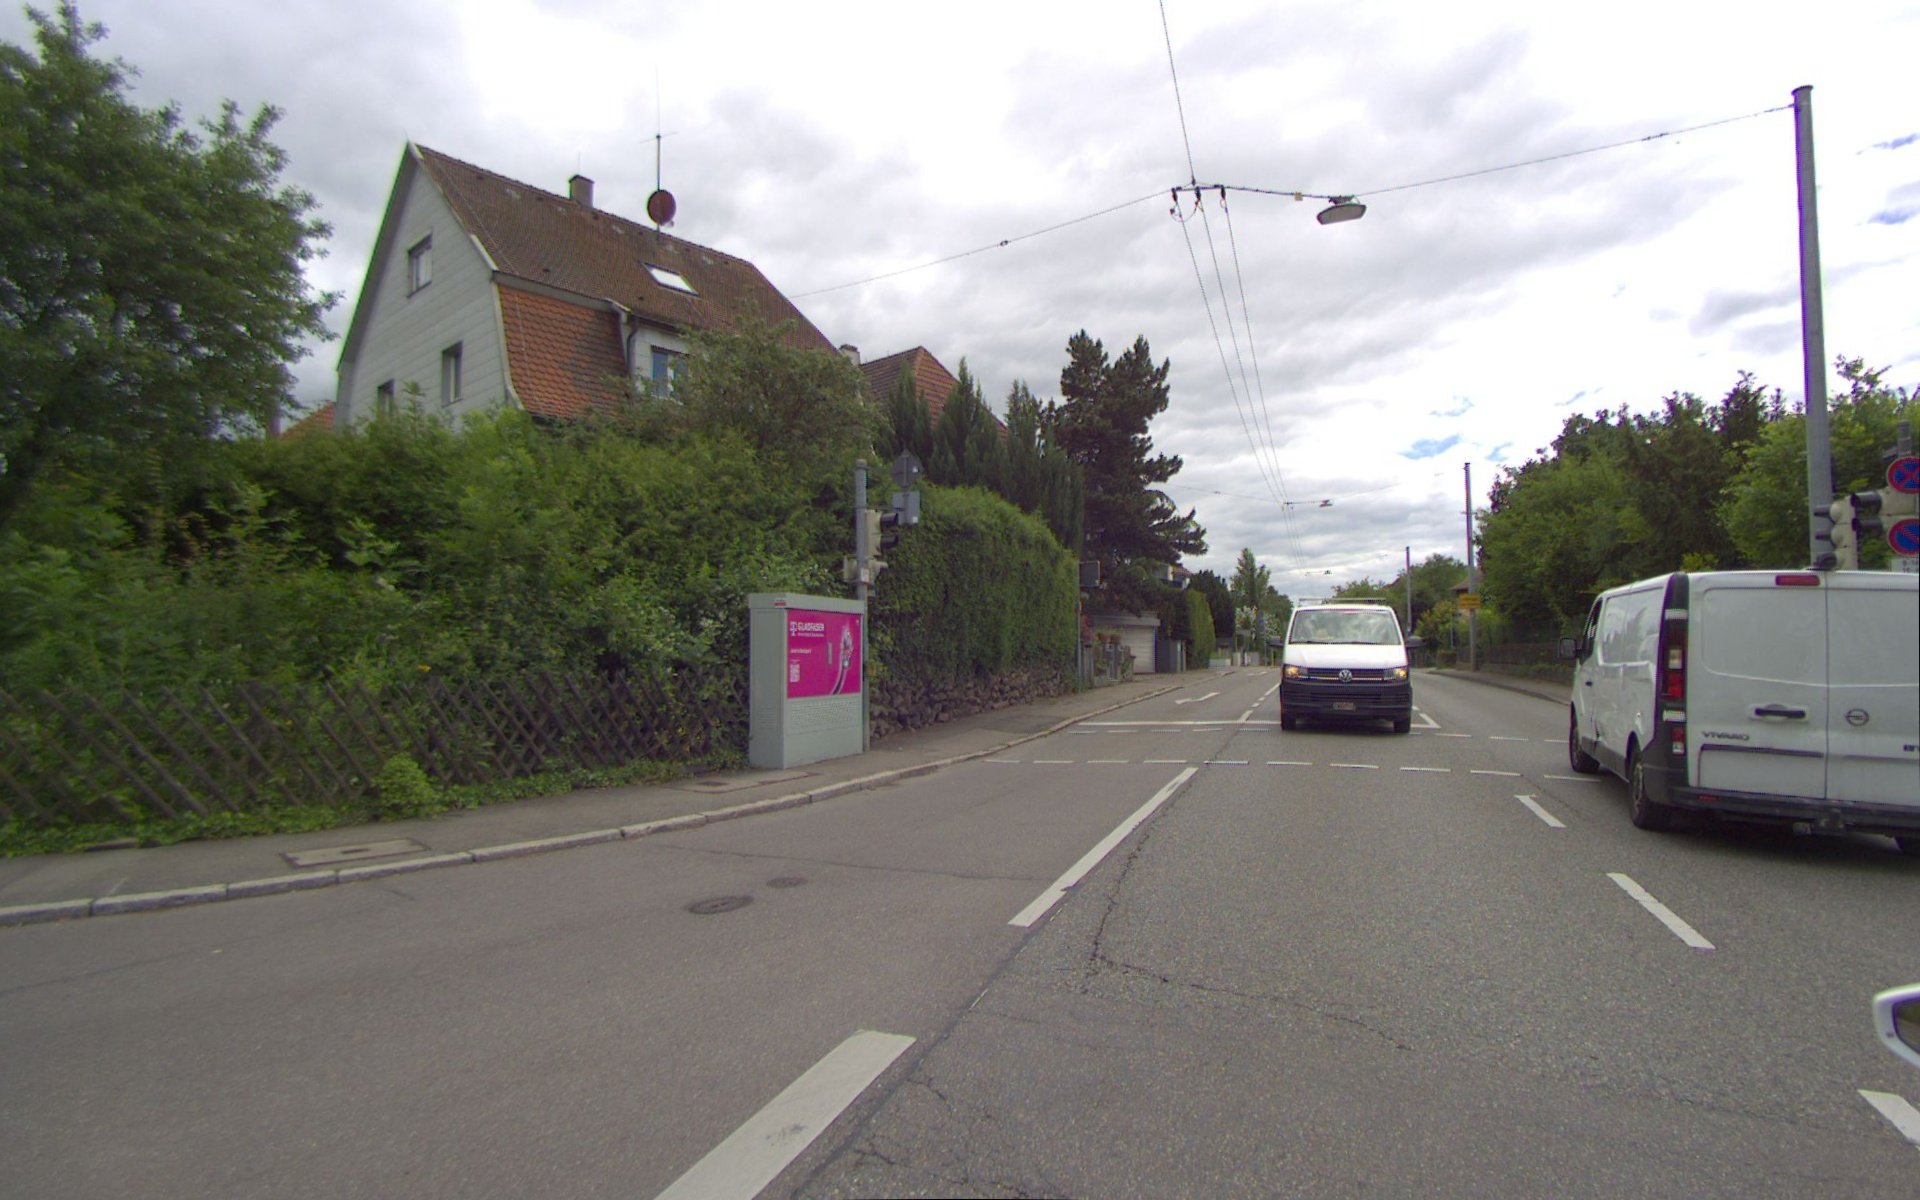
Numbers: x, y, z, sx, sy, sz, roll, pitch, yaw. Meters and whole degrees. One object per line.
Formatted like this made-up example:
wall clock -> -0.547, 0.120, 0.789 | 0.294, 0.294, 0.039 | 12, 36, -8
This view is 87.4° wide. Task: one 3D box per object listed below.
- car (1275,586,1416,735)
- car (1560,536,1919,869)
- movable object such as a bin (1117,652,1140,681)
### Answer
car -> 6.305, 0.948, 16.681 | 1.827, 2.074, 5.172 | -1, -2, 19
car -> 6.615, 0.726, 8.696 | 1.975, 2.064, 5.006 | 1, -2, 26
movable object such as a bin -> 5.674, 2.227, 33.738 | 0.642, 0.954, 0.459 | 2, -3, -41
